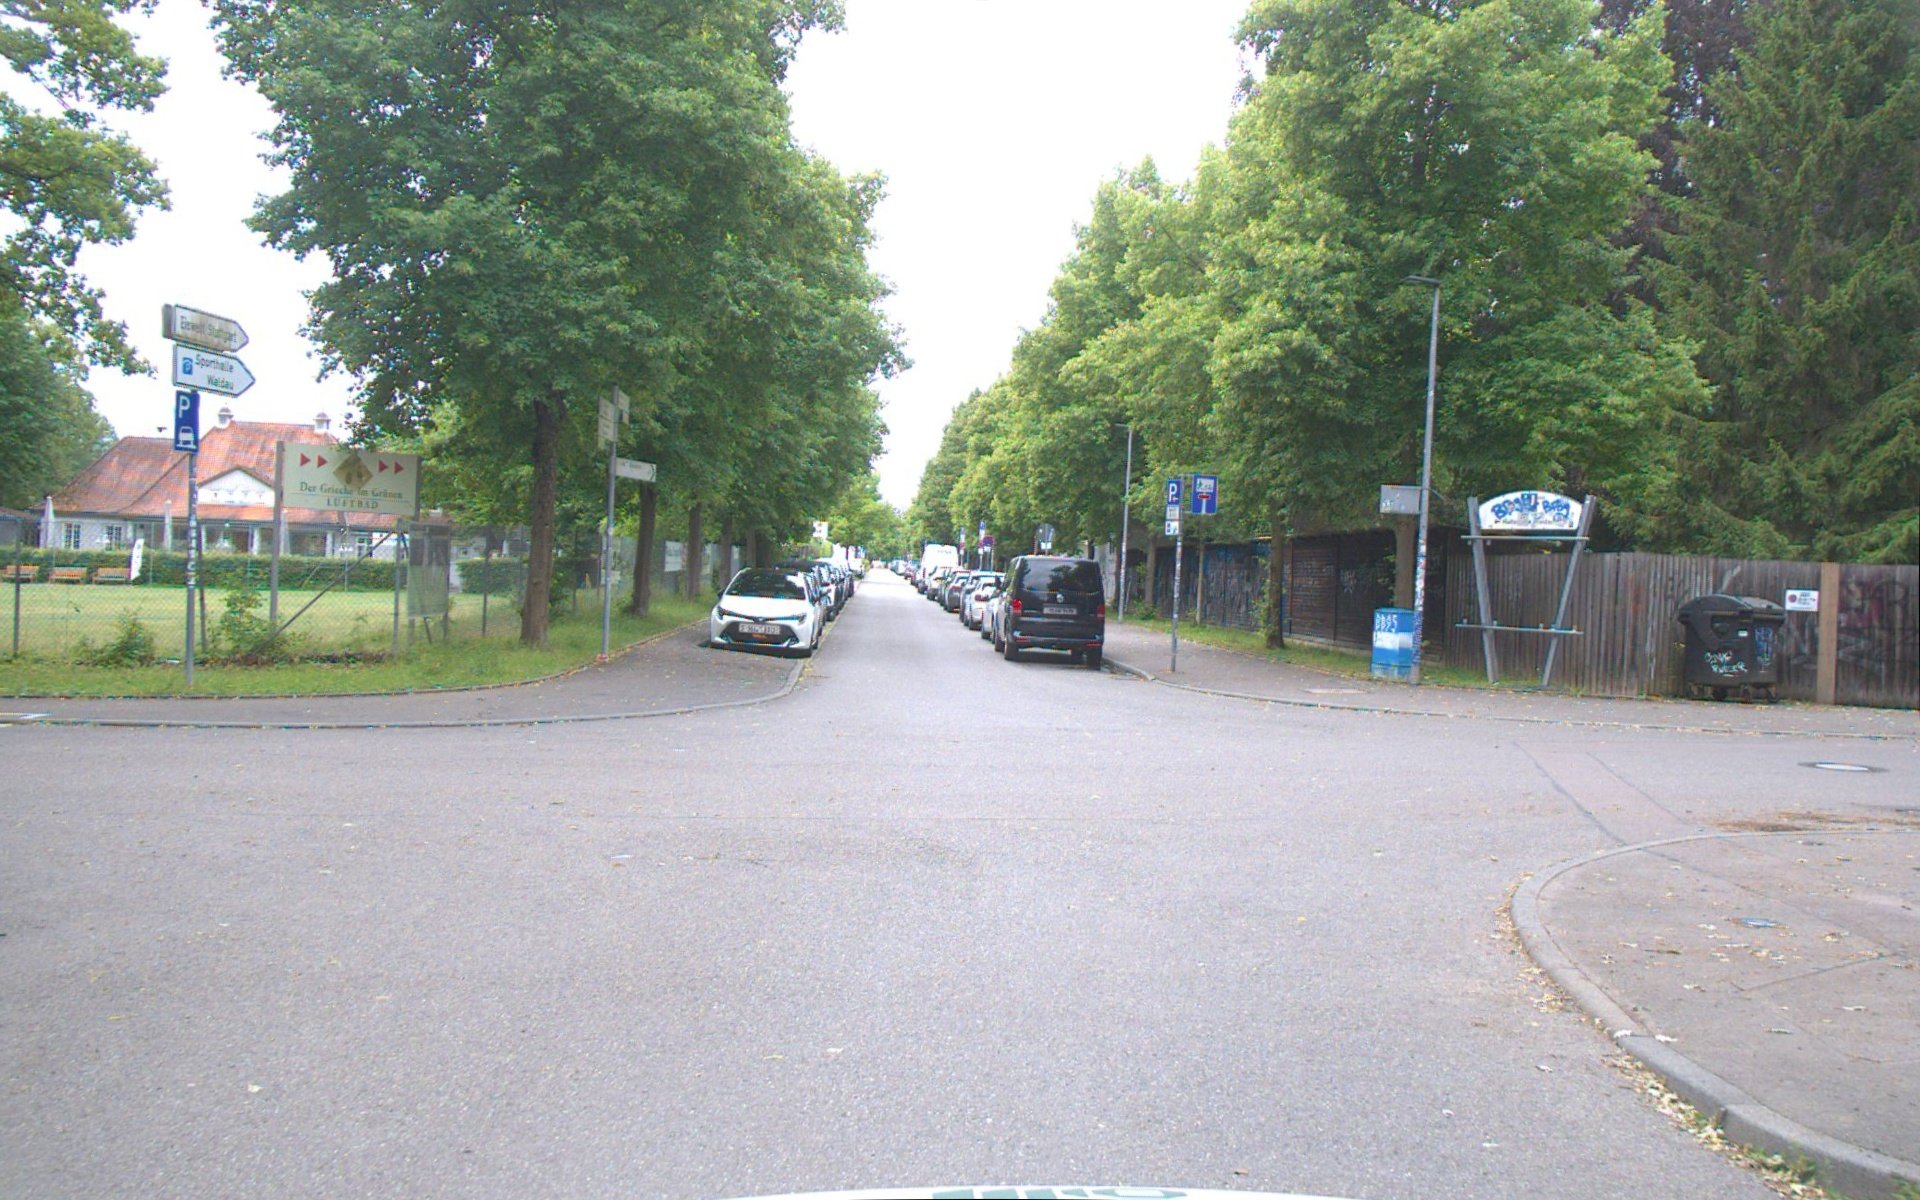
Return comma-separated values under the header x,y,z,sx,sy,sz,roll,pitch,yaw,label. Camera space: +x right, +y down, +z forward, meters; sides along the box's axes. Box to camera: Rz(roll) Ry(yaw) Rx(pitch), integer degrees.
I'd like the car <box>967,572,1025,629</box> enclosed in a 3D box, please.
x,y,z,sx,sy,sz,roll,pitch,yaw,label
0.977,0.000,46.163,1.439,1.507,3.188,1,1,-1,car

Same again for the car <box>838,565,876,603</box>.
x,y,z,sx,sy,sz,roll,pitch,yaw,label
-4.443,-0.681,71.194,1.562,1.586,3.191,-1,1,-5,car

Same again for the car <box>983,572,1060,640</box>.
x,y,z,sx,sy,sz,roll,pitch,yaw,label
1.415,0.111,39.061,1.565,1.507,3.520,1,1,-1,car

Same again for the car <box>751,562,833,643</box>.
x,y,z,sx,sy,sz,roll,pitch,yaw,label
-3.442,0.016,34.210,1.516,1.480,3.662,4,0,-5,car

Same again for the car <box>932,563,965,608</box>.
x,y,z,sx,sy,sz,roll,pitch,yaw,label
-0.537,-0.688,76.488,1.439,2.002,3.188,1,1,-1,car

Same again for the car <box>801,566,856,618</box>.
x,y,z,sx,sy,sz,roll,pitch,yaw,label
-4.079,-0.267,51.522,1.562,1.483,3.191,4,0,-5,car

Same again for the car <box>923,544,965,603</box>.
x,y,z,sx,sy,sz,roll,pitch,yaw,label
-0.917,-1.443,89.832,2.140,3.068,4.896,1,1,-1,car

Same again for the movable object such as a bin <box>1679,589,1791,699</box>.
x,y,z,sx,sy,sz,roll,pitch,yaw,label
10.812,0.597,23.067,1.060,1.468,1.277,1,-1,44,movable object such as a bin

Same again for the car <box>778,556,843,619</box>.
x,y,z,sx,sy,sz,roll,pitch,yaw,label
-4.237,-0.365,47.157,1.658,1.623,3.996,4,0,-5,car

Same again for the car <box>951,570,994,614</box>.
x,y,z,sx,sy,sz,roll,pitch,yaw,label
0.434,-0.304,60.250,1.439,1.558,3.188,1,1,-1,car

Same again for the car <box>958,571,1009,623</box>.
x,y,z,sx,sy,sz,roll,pitch,yaw,label
0.694,-0.113,51.417,1.439,1.558,3.188,1,1,-1,car

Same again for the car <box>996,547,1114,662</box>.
x,y,z,sx,sy,sz,roll,pitch,yaw,label
1.778,0.061,32.262,1.948,2.049,4.107,1,1,-1,car

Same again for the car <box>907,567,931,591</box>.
x,y,z,sx,sy,sz,roll,pitch,yaw,label
-3.742,-1.918,150.122,1.952,2.049,4.000,1,0,1,car

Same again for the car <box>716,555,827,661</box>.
x,y,z,sx,sy,sz,roll,pitch,yaw,label
-3.290,0.104,29.444,1.731,1.623,4.212,4,0,-5,car

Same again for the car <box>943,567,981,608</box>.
x,y,z,sx,sy,sz,roll,pitch,yaw,label
0.058,-0.501,66.068,1.439,1.558,3.188,1,1,-1,car

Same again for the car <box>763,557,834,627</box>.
x,y,z,sx,sy,sz,roll,pitch,yaw,label
-4.145,-0.229,42.951,1.658,1.623,3.996,4,0,-5,car

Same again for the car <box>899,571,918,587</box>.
x,y,z,sx,sy,sz,roll,pitch,yaw,label
-5.729,-2.318,183.193,1.859,1.736,4.064,1,0,1,car
